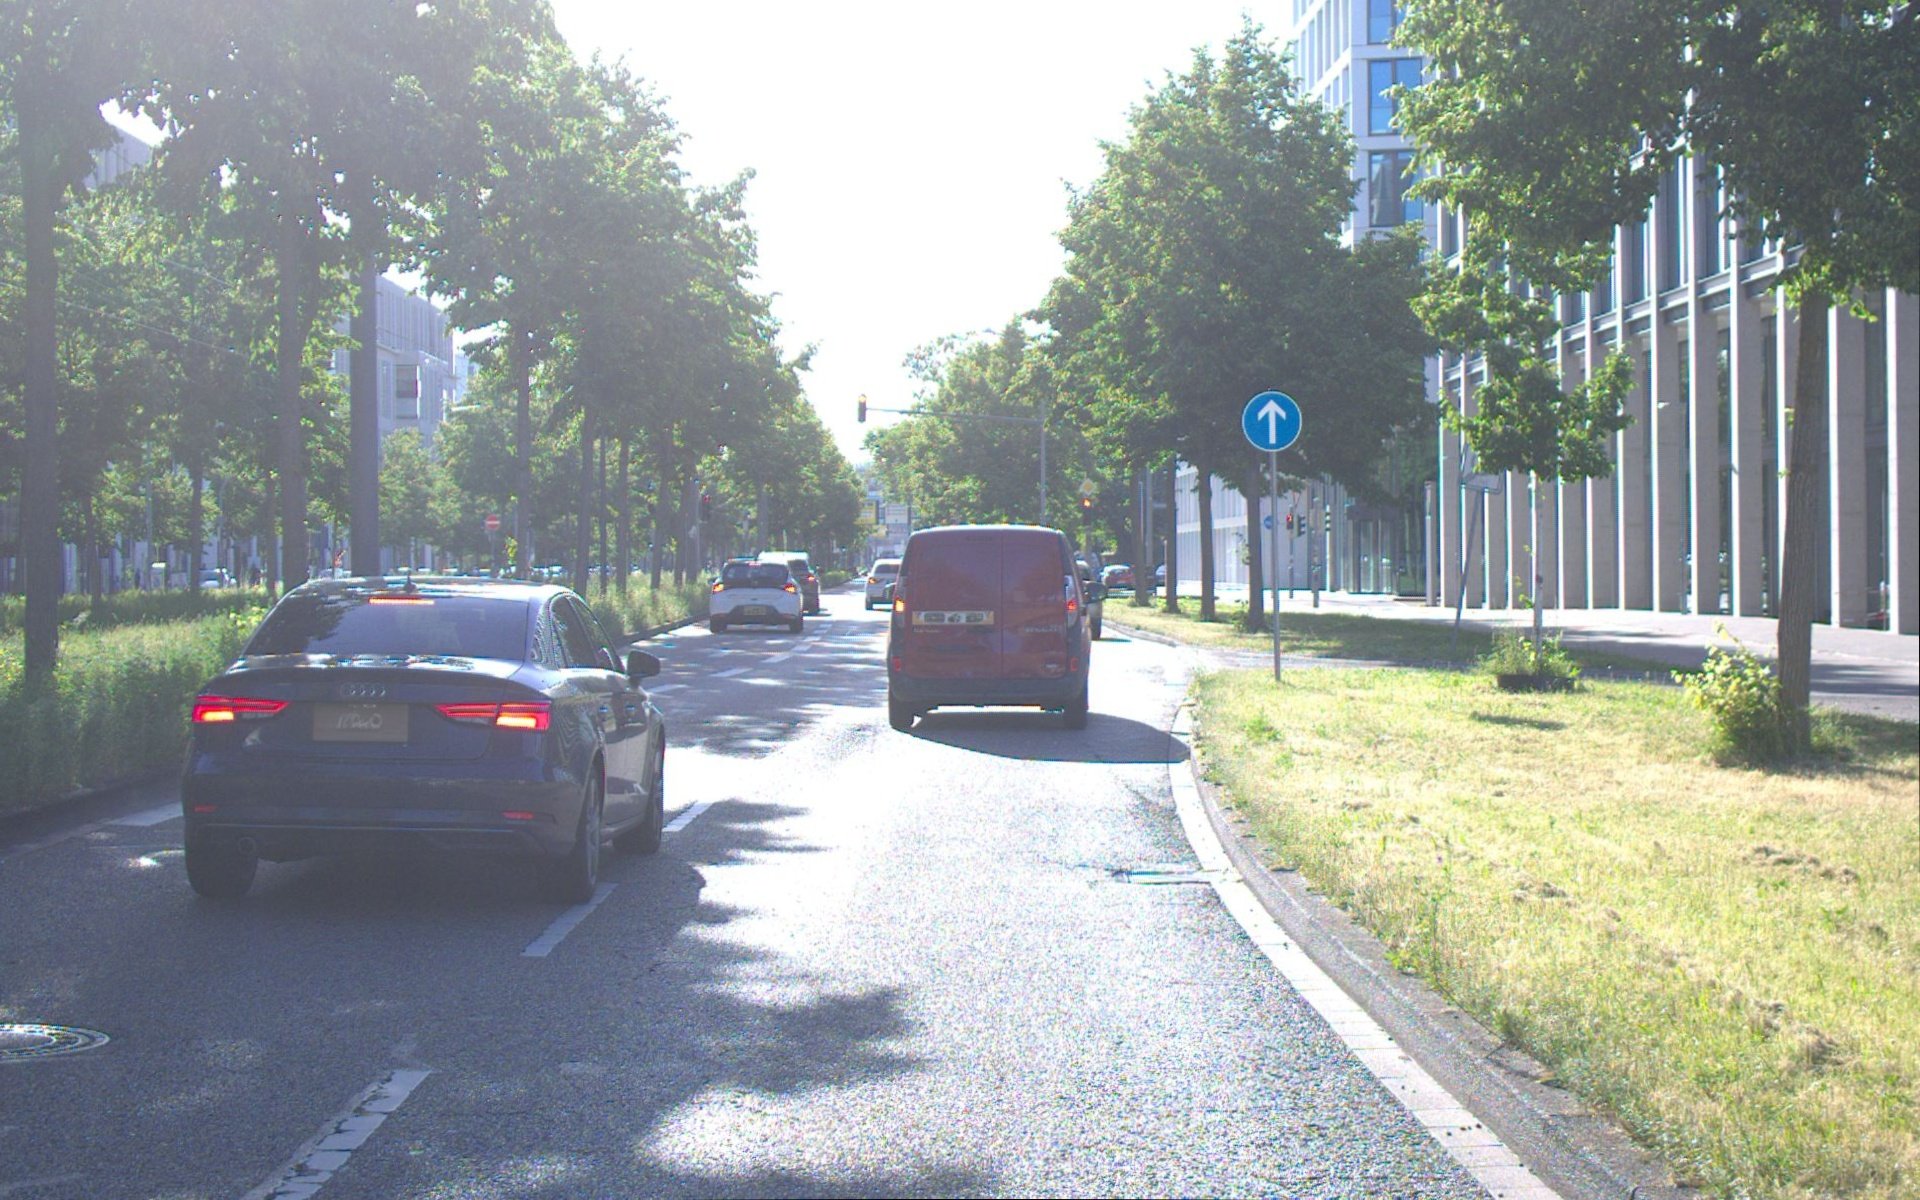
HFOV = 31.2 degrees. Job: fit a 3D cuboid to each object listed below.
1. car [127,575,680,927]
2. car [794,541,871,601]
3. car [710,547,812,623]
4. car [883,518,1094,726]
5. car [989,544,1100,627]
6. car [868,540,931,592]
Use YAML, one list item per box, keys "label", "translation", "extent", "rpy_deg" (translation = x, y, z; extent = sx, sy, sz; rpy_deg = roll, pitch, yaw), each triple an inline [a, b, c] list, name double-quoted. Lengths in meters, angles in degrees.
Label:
- label: "car"
  translation: [-2.410, 0.590, 15.899]
  extent: [1.721, 1.362, 4.146]
  rpy_deg: [1, 1, 2]
- label: "car"
  translation: [-3.303, -0.781, 89.767]
  extent: [1.843, 1.529, 3.940]
  rpy_deg: [0, 1, 0]
- label: "car"
  translation: [-3.900, -0.317, 67.645]
  extent: [1.942, 1.436, 4.001]
  rpy_deg: [0, 1, -3]
- label: "car"
  translation: [0.201, 0.152, 31.404]
  extent: [1.797, 1.771, 4.000]
  rpy_deg: [0, 1, -1]
- label: "car"
  translation: [1.569, -0.291, 65.180]
  extent: [1.720, 1.420, 3.817]
  rpy_deg: [2, 2, -4]
- label: "car"
  translation: [-1.717, -0.970, 97.108]
  extent: [1.721, 1.420, 3.817]
  rpy_deg: [0, 1, -1]
